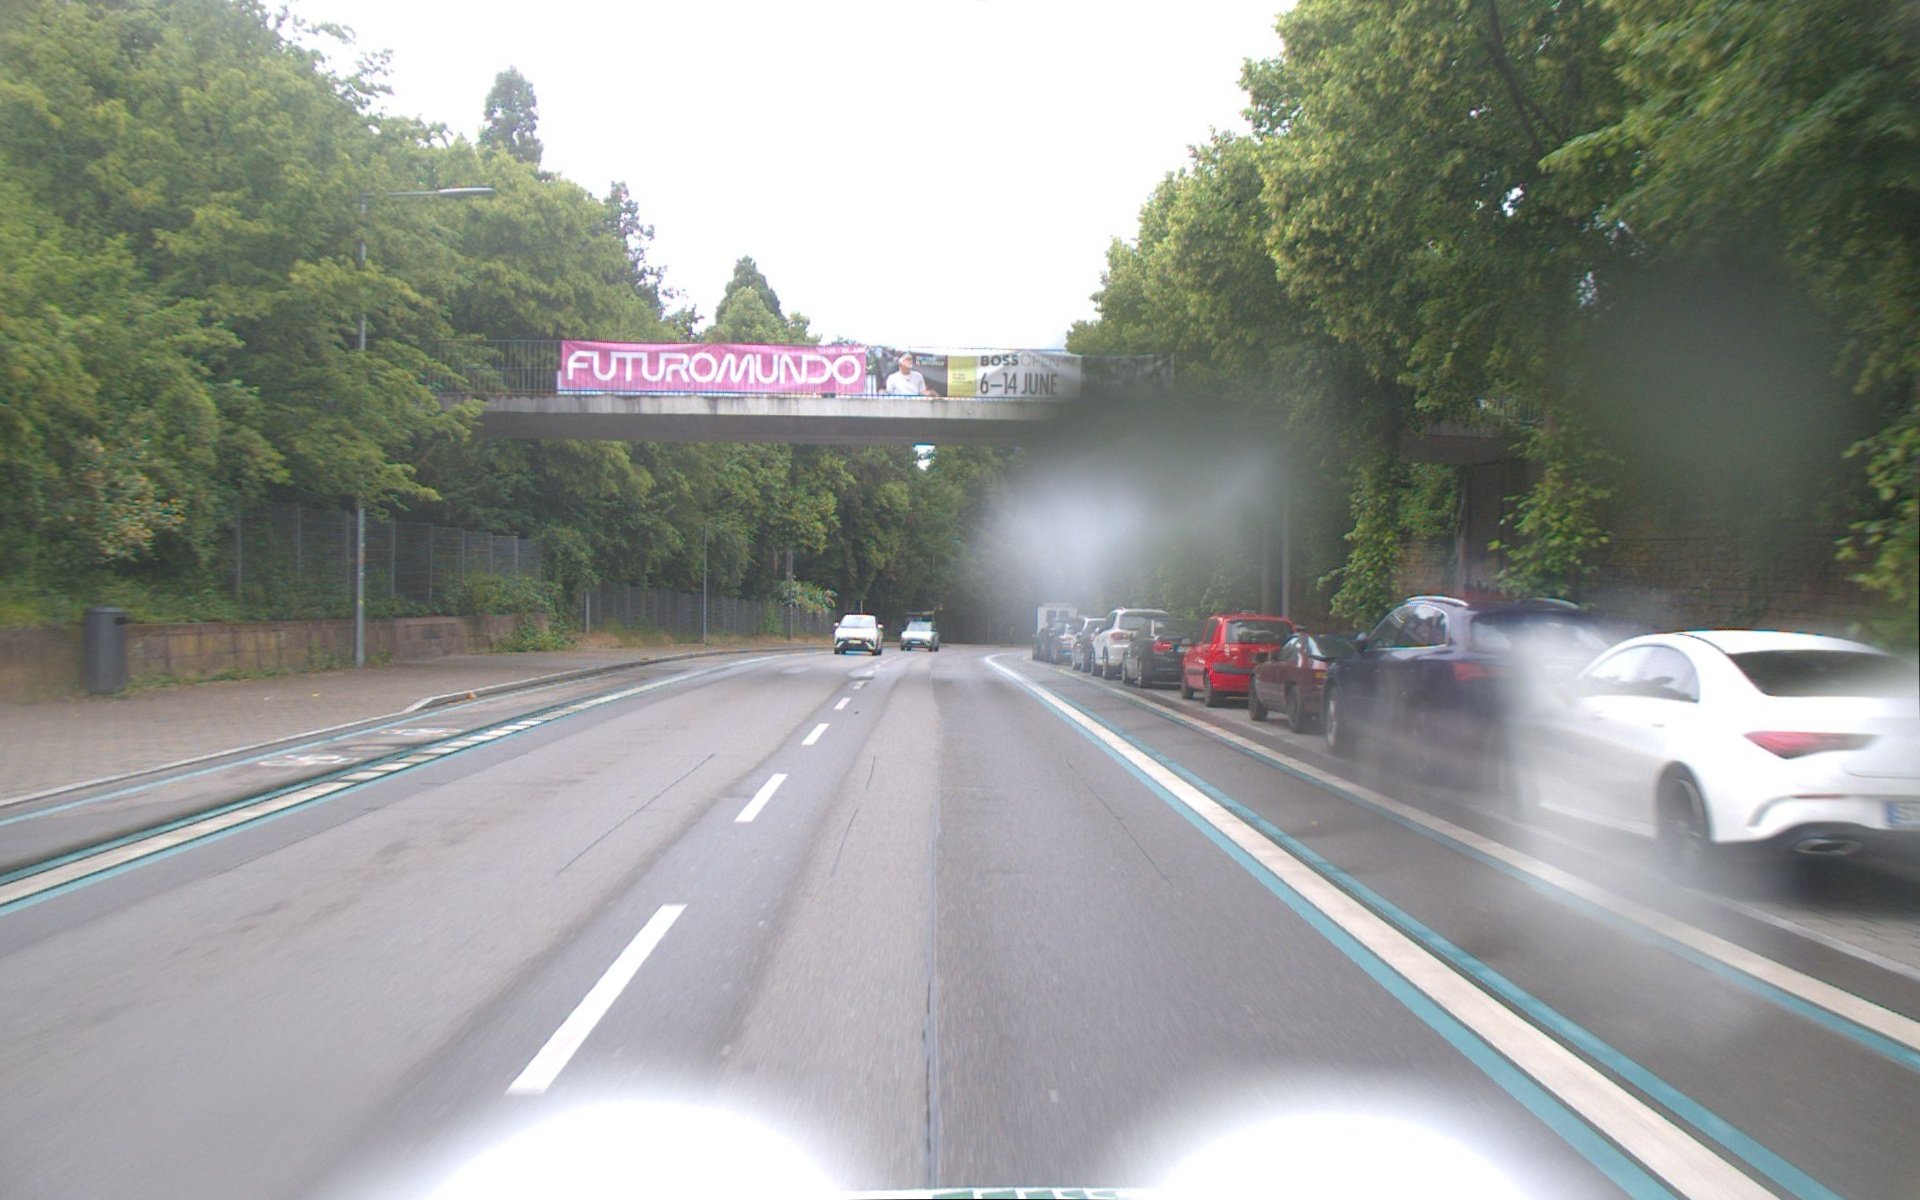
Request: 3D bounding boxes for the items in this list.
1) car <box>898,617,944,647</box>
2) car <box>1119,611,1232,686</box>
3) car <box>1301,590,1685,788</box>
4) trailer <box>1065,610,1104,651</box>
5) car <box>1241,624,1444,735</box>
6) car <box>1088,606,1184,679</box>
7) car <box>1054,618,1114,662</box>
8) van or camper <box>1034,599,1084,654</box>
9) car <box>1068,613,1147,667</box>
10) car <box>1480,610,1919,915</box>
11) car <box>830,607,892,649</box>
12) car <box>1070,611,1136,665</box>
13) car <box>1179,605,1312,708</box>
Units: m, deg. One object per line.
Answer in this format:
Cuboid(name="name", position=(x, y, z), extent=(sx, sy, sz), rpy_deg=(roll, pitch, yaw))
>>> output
Cuboid(name="car", position=(-2.145, 1.818, 92.158), extent=(1.758, 1.604, 4.105), rpy_deg=(1, -1, 9))
Cuboid(name="car", position=(4.424, 1.010, 34.567), extent=(1.639, 1.418, 4.448), rpy_deg=(1, -2, -2))
Cuboid(name="car", position=(4.934, 0.736, 16.113), extent=(1.954, 1.587, 4.639), rpy_deg=(1, 0, -4))
Cuboid(name="trailer", position=(8.763, 2.150, 116.038), extent=(2.267, 2.719, 5.380), rpy_deg=(2, -1, 9))
Cuboid(name="car", position=(4.979, 0.991, 22.070), extent=(1.593, 1.210, 4.182), rpy_deg=(1, 0, -2))
Cuboid(name="car", position=(4.231, 1.031, 40.280), extent=(1.679, 1.647, 4.258), rpy_deg=(1, -1, -2))
Cuboid(name="car", position=(4.164, 1.372, 56.225), extent=(1.738, 1.372, 4.466), rpy_deg=(2, -2, 1))
Cuboid(name="van or camper", position=(5.259, 1.420, 87.194), extent=(2.268, 2.711, 6.385), rpy_deg=(2, -1, 6))
Cuboid(name="car", position=(4.110, 1.162, 46.611), extent=(1.683, 1.400, 4.556), rpy_deg=(1, -2, -1))
Cuboid(name="car", position=(4.926, 0.849, 10.684), extent=(1.626, 1.451, 4.618), rpy_deg=(1, 0, 0))
Cuboid(name="car", position=(-3.886, 1.087, 65.466), extent=(1.930, 1.579, 3.872), rpy_deg=(1, 0, 4))
Cuboid(name="car", position=(4.389, 1.175, 51.229), extent=(1.627, 1.562, 3.740), rpy_deg=(2, -1, -1))
Cuboid(name="car", position=(4.730, 0.894, 27.810), extent=(1.527, 1.492, 3.625), rpy_deg=(1, 1, -1))
